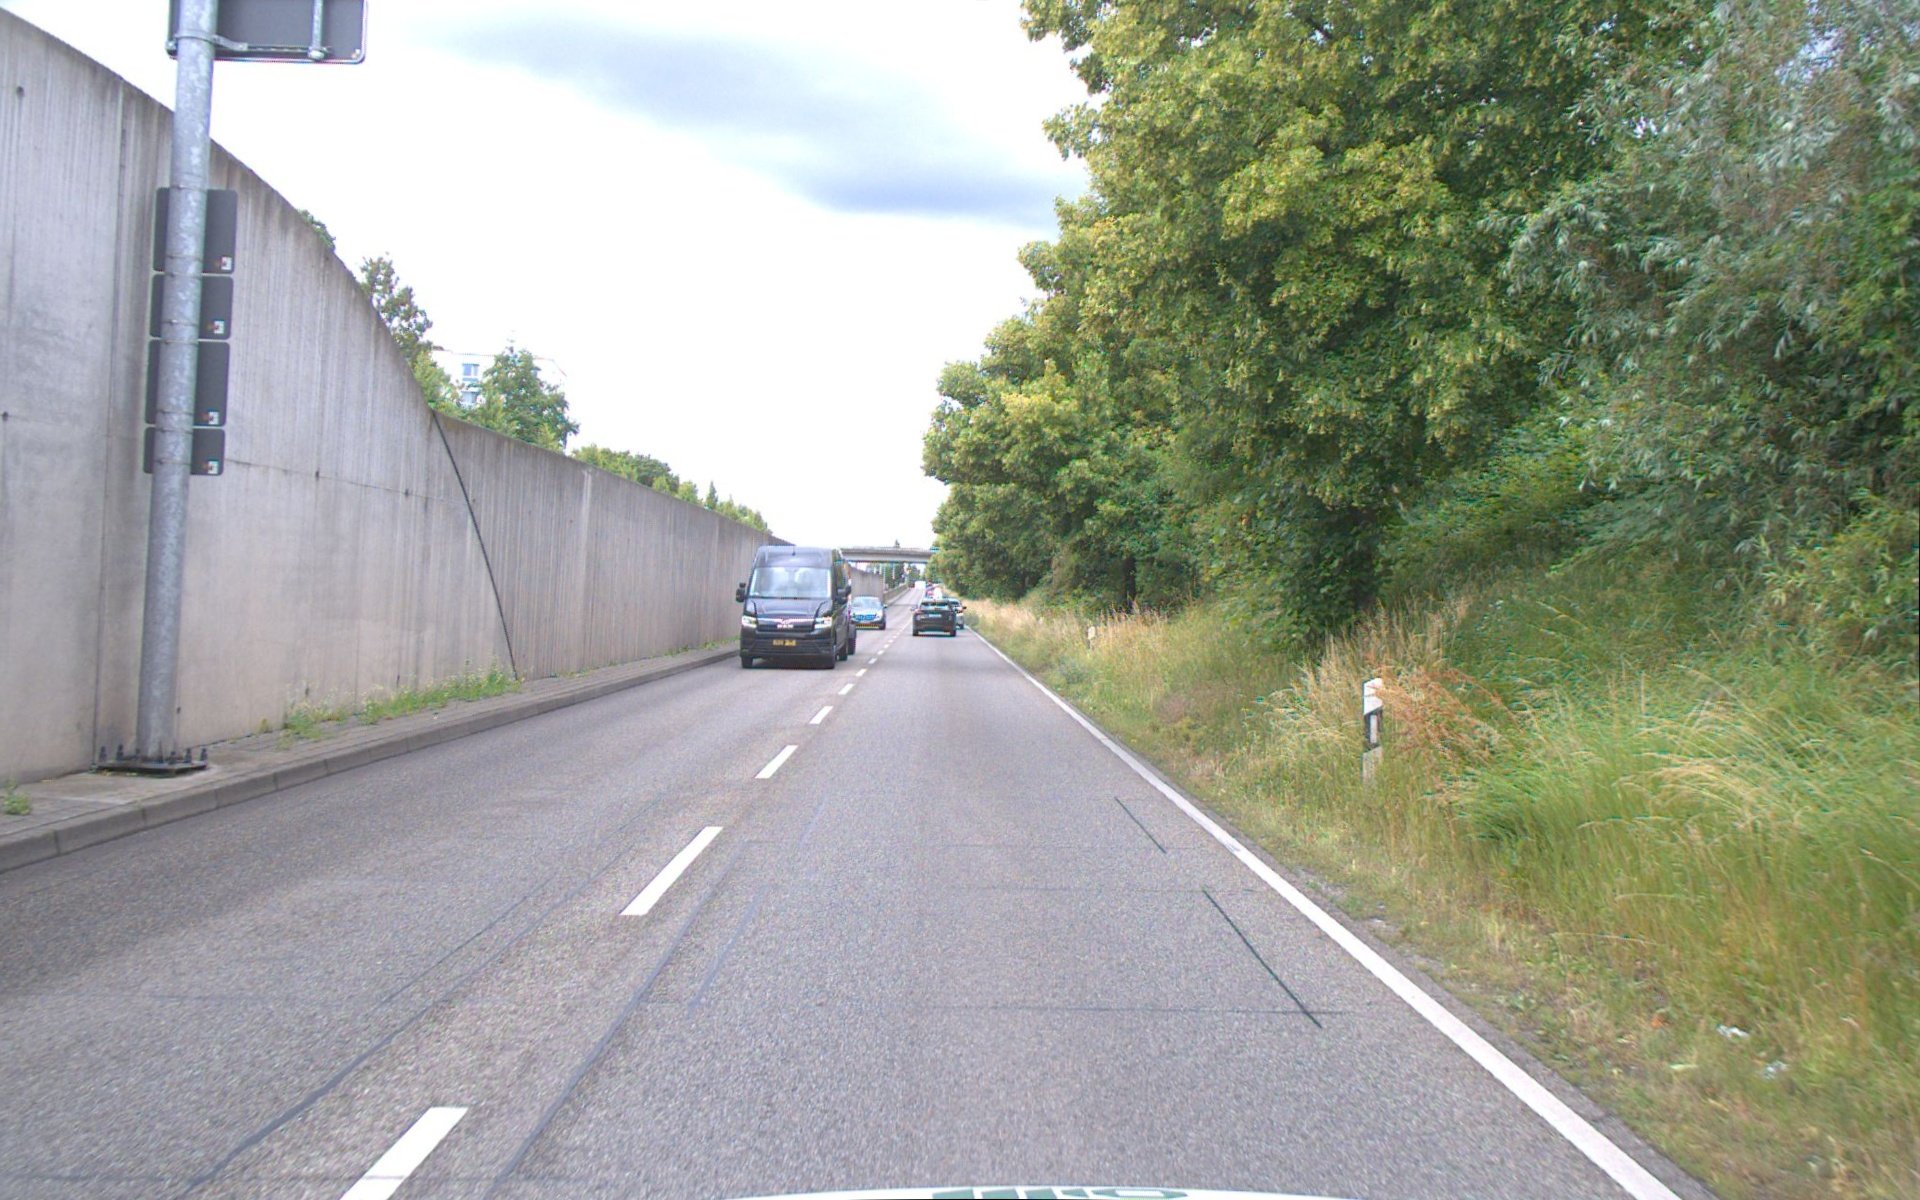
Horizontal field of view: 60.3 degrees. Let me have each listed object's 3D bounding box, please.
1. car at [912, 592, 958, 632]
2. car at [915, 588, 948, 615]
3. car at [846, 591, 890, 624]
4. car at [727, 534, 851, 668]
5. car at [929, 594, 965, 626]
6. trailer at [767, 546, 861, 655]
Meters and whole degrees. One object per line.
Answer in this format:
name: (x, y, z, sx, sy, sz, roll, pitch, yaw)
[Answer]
car: (-1.034, 0.506, 66.326, 1.719, 1.550, 4.034, -1, -1, -3)
car: (-1.801, 0.119, 103.211, 1.830, 1.516, 4.254, 4, 0, -3)
car: (-4.323, 0.336, 78.264, 1.854, 1.509, 4.822, 1, 0, -1)
car: (-3.686, 0.014, 37.038, 2.067, 2.676, 7.415, 1, 0, -1)
car: (-0.615, 0.503, 82.737, 1.718, 1.550, 4.037, 0, 0, 1)
trailer: (-3.727, 0.012, 42.967, 2.067, 2.676, 4.371, 1, 0, -1)
